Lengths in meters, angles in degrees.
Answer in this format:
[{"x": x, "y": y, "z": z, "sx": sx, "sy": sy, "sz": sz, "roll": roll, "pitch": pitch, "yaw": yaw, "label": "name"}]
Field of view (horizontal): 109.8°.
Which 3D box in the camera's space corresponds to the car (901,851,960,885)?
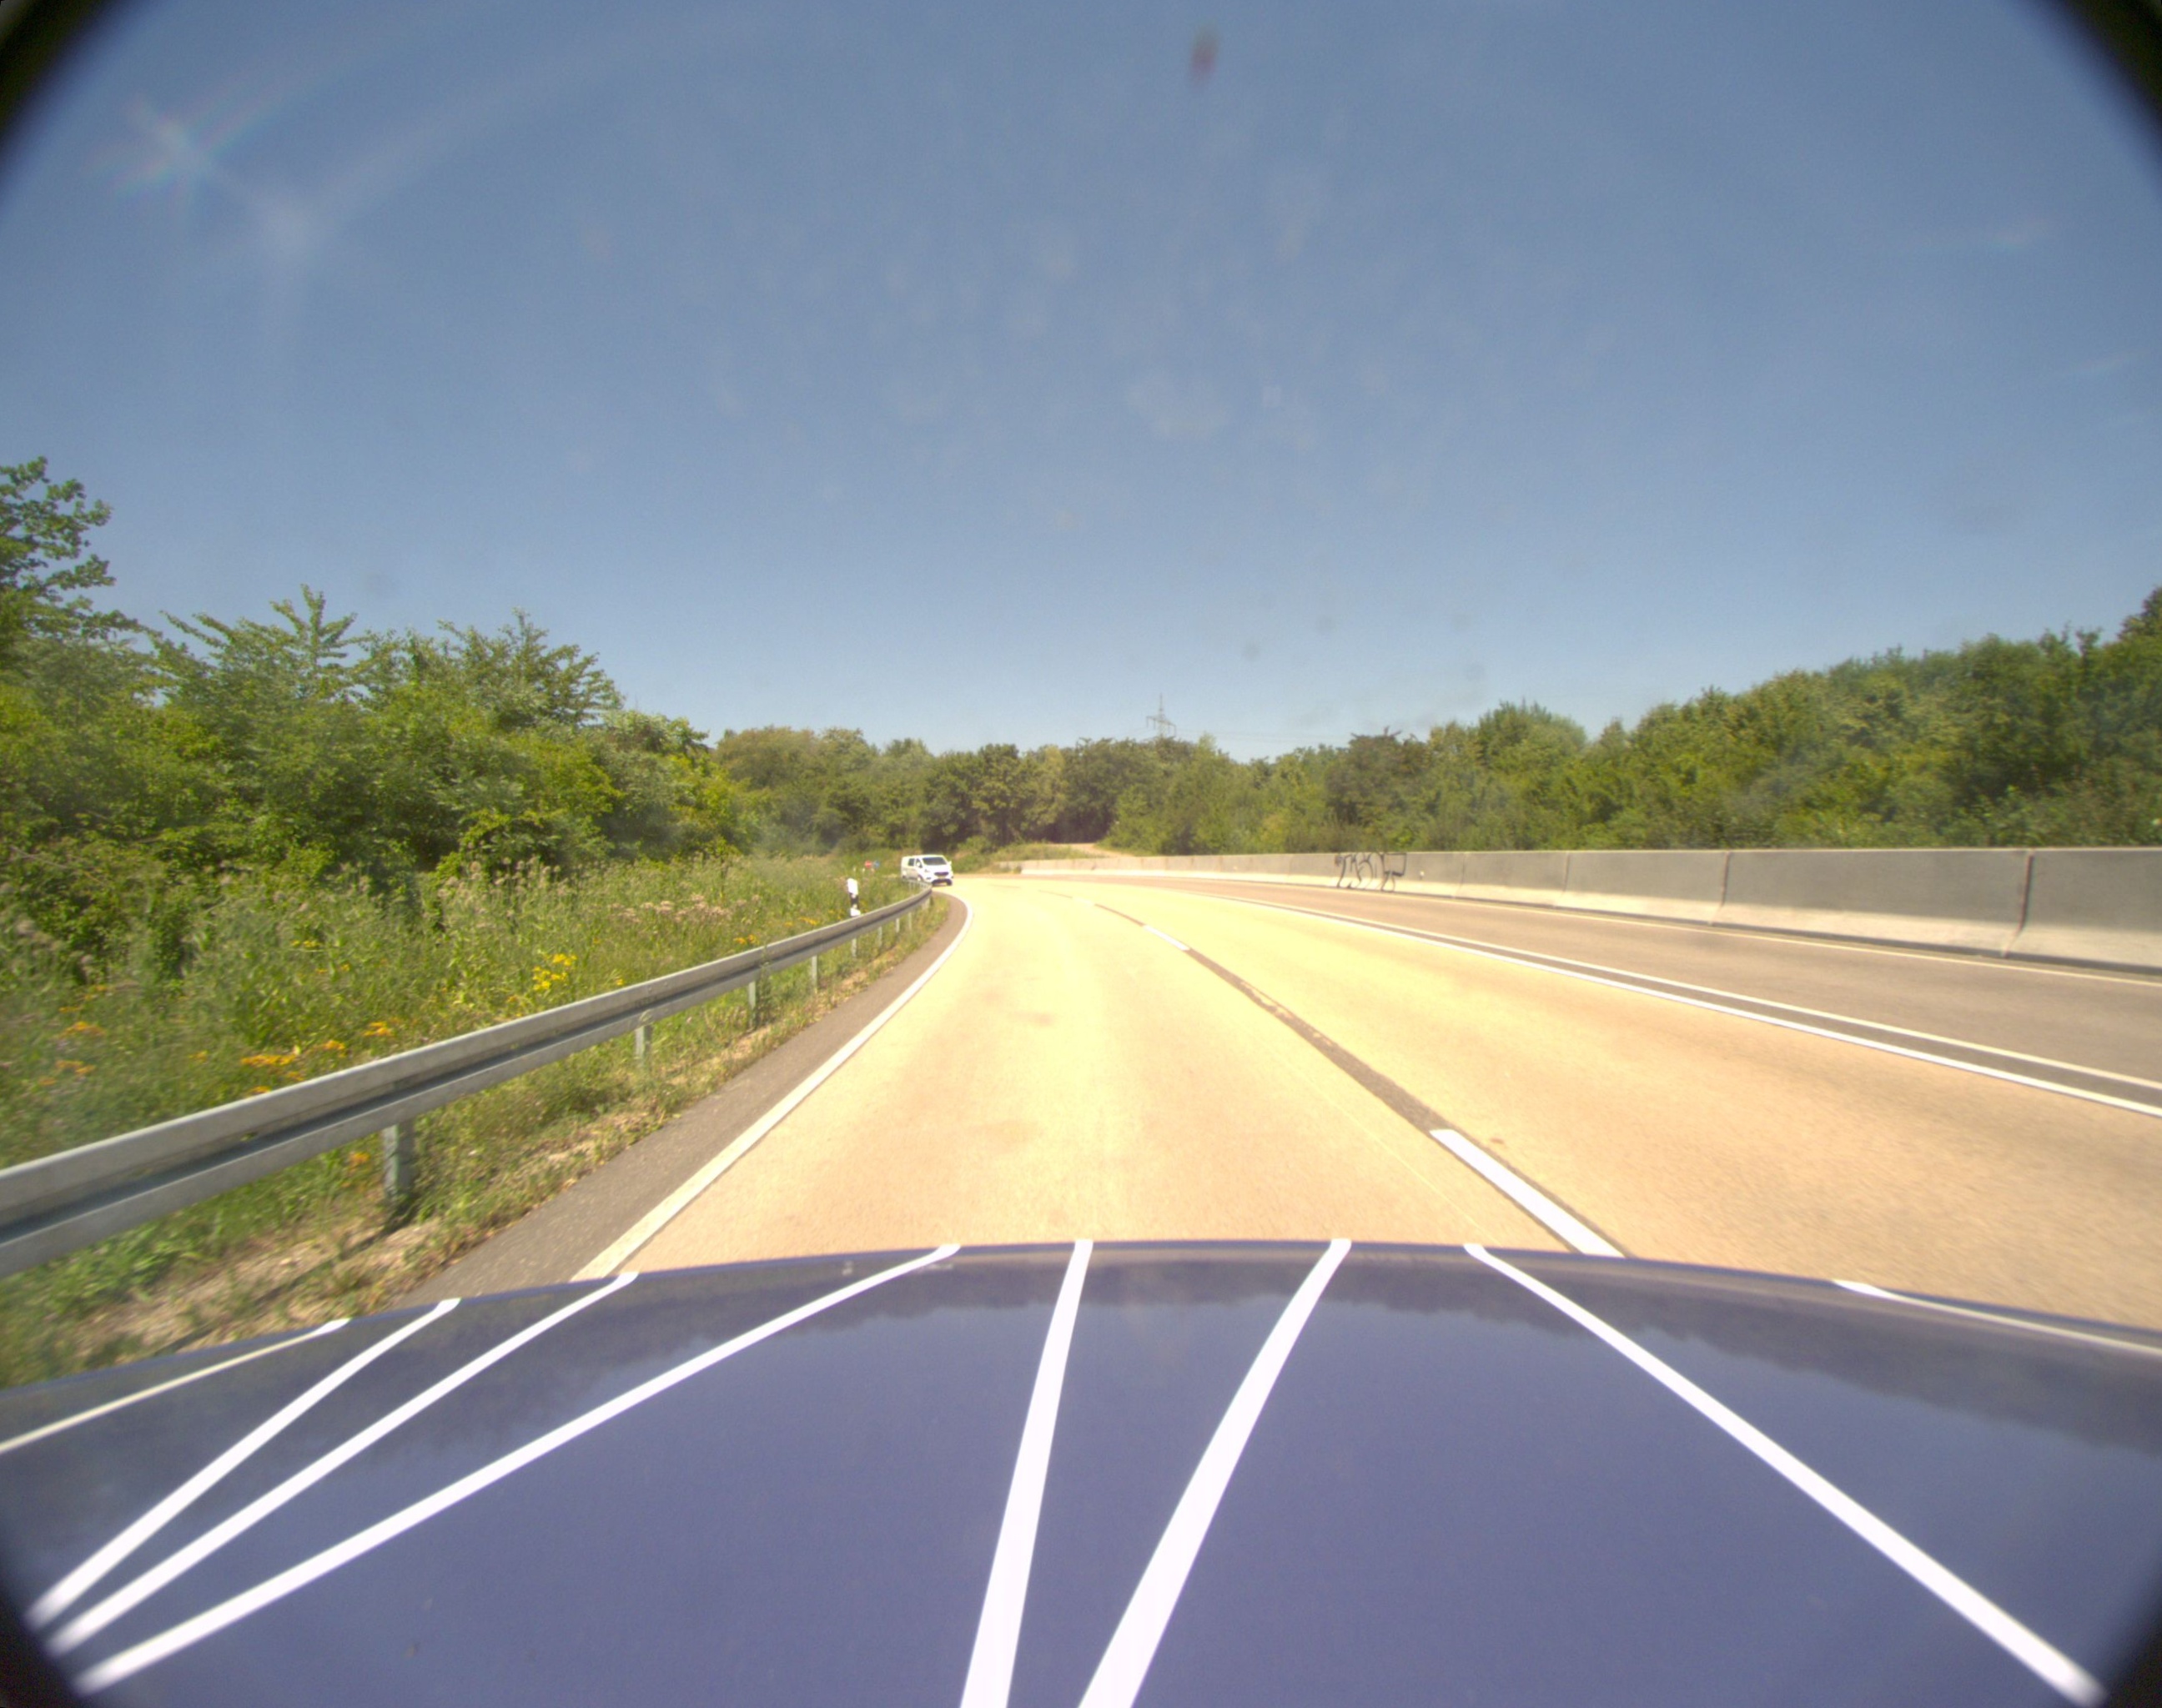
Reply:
[{"x": -9.802, "y": 0.907, "z": 49.124, "sx": 2.067, "sy": 2.002, "sz": 5.029, "roll": -3, "pitch": 1, "yaw": -31, "label": "car"}]
